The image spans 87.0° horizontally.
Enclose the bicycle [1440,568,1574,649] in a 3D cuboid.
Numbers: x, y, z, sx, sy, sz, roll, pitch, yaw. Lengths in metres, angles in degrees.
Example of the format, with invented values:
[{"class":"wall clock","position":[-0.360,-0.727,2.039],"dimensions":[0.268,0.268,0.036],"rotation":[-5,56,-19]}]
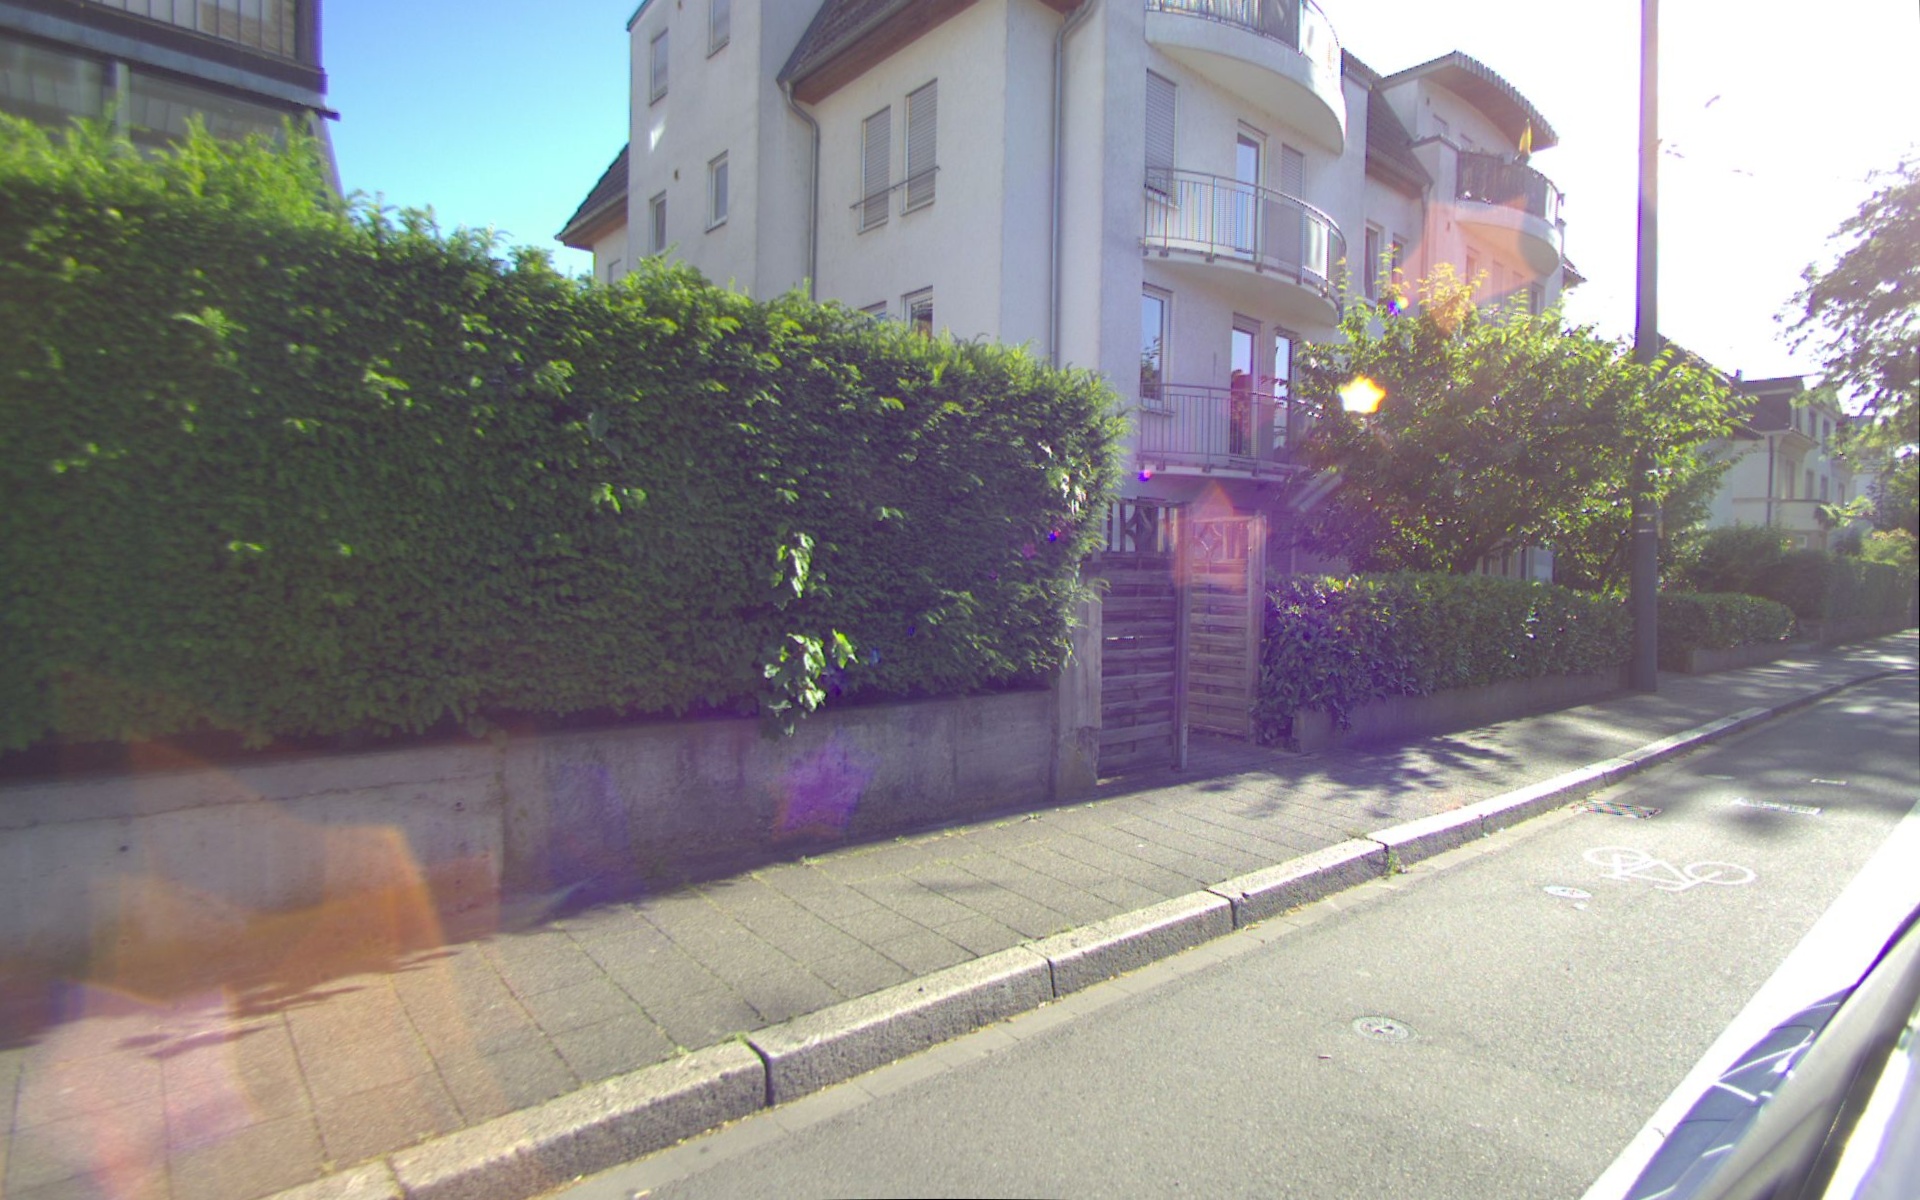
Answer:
[{"class":"bicycle","position":[9.615,0.109,17.857],"dimensions":[0.811,1.217,1.845],"rotation":[-1,6,-41]}]
